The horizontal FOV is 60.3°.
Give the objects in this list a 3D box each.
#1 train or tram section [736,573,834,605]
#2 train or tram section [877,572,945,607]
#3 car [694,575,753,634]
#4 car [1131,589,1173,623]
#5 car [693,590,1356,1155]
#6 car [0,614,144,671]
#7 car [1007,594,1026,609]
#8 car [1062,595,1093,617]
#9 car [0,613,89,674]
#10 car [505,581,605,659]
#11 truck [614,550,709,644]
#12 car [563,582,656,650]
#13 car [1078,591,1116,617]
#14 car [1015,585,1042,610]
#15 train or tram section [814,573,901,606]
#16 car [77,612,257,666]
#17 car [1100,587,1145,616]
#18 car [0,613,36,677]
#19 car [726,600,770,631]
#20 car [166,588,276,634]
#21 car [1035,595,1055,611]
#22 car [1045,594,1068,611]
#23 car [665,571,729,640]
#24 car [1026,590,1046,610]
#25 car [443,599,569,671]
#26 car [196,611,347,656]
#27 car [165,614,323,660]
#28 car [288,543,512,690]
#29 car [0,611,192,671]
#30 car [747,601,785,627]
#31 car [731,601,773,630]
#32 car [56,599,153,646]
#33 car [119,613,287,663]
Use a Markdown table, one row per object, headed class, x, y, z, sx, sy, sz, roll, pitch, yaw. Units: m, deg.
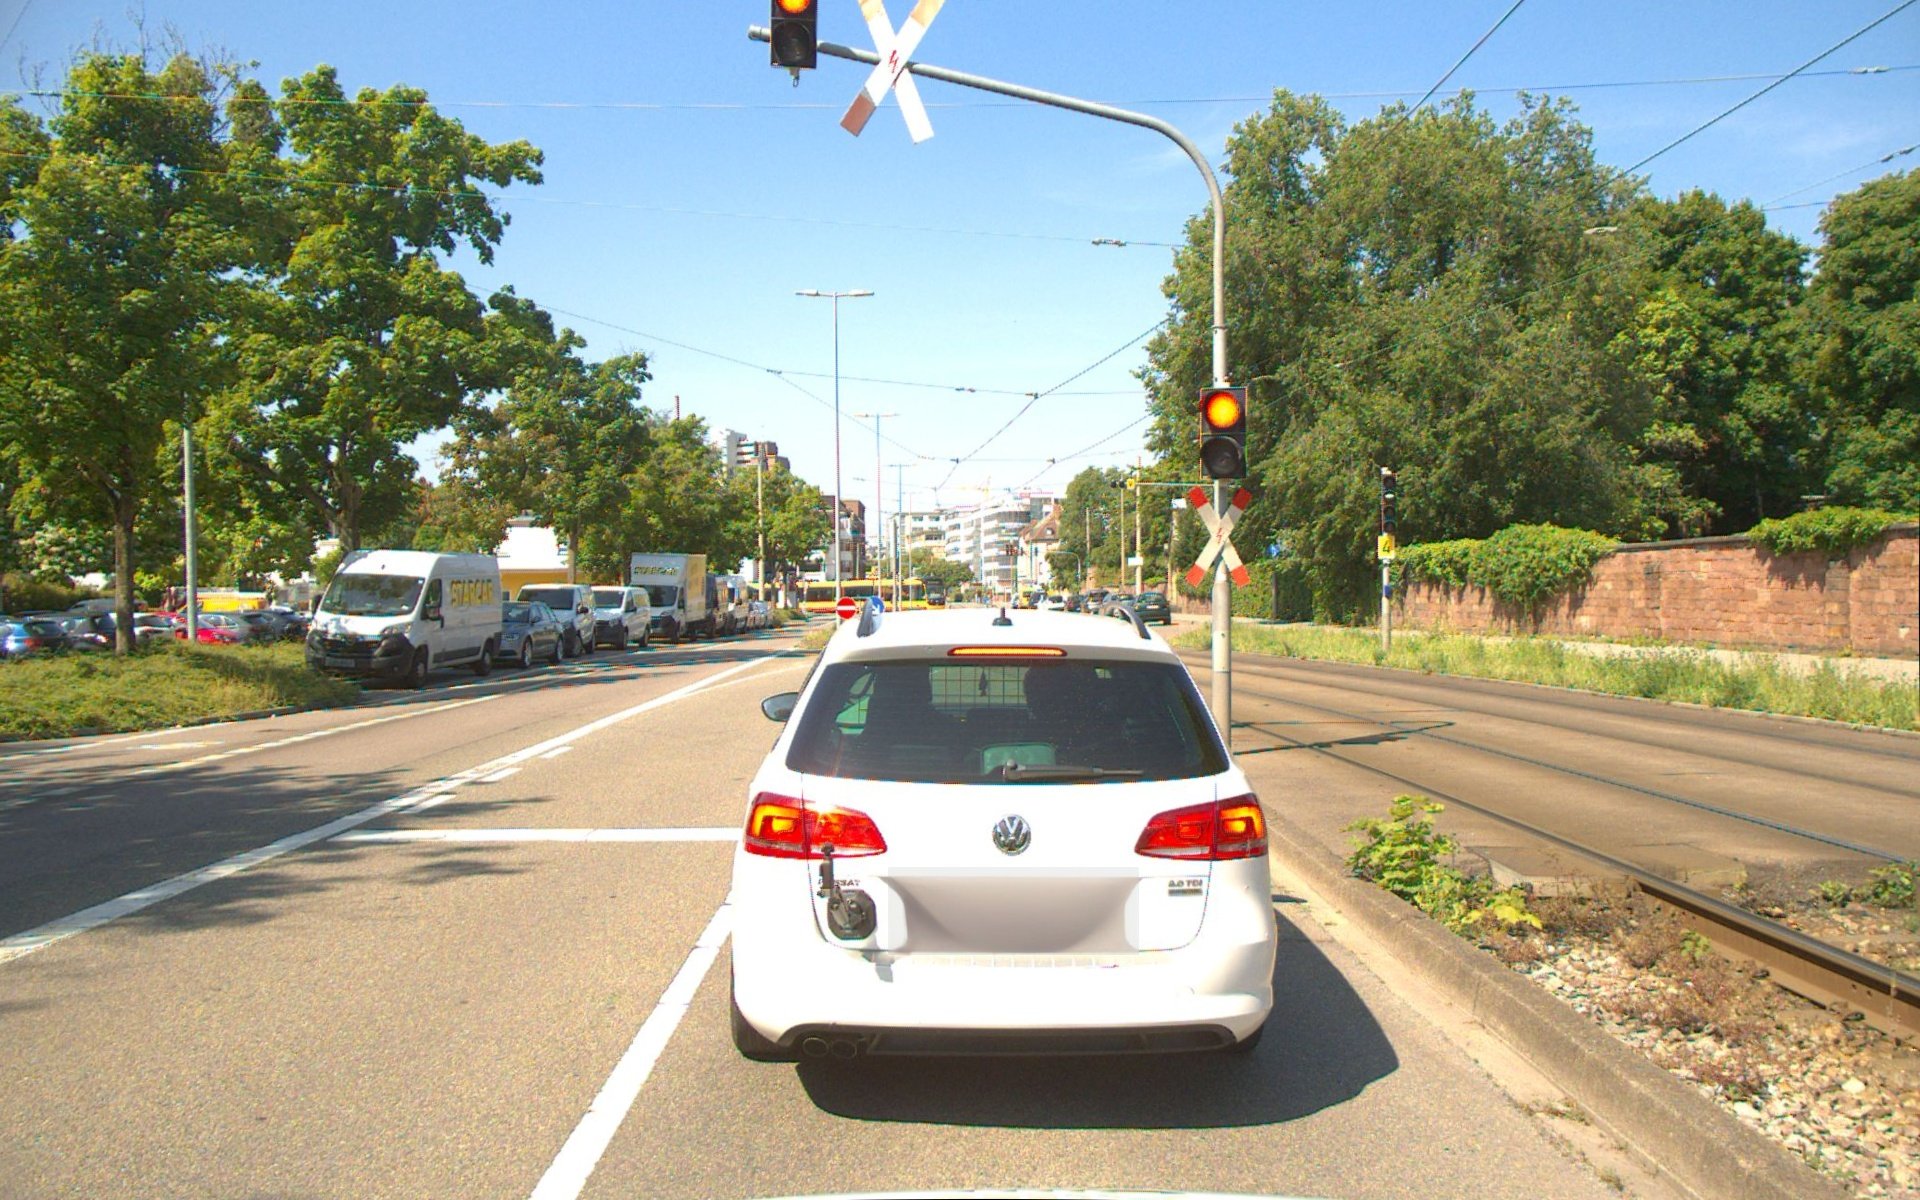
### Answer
| class | x | y | z | sx | sy | sz | roll | pitch | yaw |
| --- | --- | --- | --- | --- | --- | --- | --- | --- | --- |
| train or tram section | -18.860 | -1.221 | 178.003 | 10.765 | 3.310 | 2.307 | 1 | -1 | 25 |
| train or tram section | -4.962 | -1.054 | 164.258 | 2.273 | 3.309 | 11.178 | 1 | -1 | -26 |
| car | -10.792 | 0.192 | 75.801 | 1.806 | 2.538 | 5.856 | -1 | 0 | 0 |
| car | 8.300 | 0.262 | 71.690 | 1.709 | 1.412 | 3.915 | 1 | 0 | 5 |
| car | 0.121 | 0.716 | 6.332 | 1.732 | 1.471 | 3.912 | 1 | 0 | -2 |
| car | -21.630 | 1.005 | 38.984 | 3.904 | 1.246 | 1.772 | -1 | 0 | 2 |
| car | 6.430 | 0.167 | 188.916 | 1.953 | 1.624 | 3.999 | 1 | -1 | 0 |
| car | 8.019 | 0.410 | 113.310 | 1.711 | 1.432 | 3.911 | 1 | 0 | -2 |
| car | -21.266 | 0.953 | 35.780 | 3.904 | 1.246 | 1.772 | -1 | 0 | 2 |
| car | -11.026 | 0.501 | 45.358 | 1.807 | 1.971 | 5.189 | -1 | 0 | -5 |
| truck | -10.774 | -0.137 | 60.231 | 2.309 | 3.177 | 6.889 | -1 | 0 | -2 |
| car | -10.932 | 0.456 | 51.884 | 1.806 | 1.995 | 5.133 | -1 | 0 | 0 |
| car | 8.269 | 0.221 | 100.158 | 1.823 | 1.539 | 3.912 | 1 | 0 | -2 |
| car | 7.176 | -0.281 | 174.484 | 2.413 | 2.542 | 5.908 | 1 | -1 | -1 |
| train or tram section | -10.752 | -1.107 | 172.084 | 10.614 | 3.309 | 2.295 | 1 | -1 | 42 |
| car | -21.088 | 1.027 | 44.067 | 3.904 | 1.286 | 1.772 | -1 | 0 | 2 |
| car | 8.536 | 0.078 | 87.159 | 1.823 | 1.441 | 4.323 | 1 | 0 | -2 |
| car | -20.946 | 0.942 | 33.039 | 3.907 | 1.246 | 1.770 | -1 | 0 | -3 |
| car | -10.908 | 0.779 | 85.396 | 1.806 | 1.458 | 4.037 | -1 | 0 | -1 |
| car | -34.182 | 0.515 | 76.613 | 4.175 | 2.049 | 1.997 | 1 | -1 | -7 |
| car | 7.494 | 0.302 | 145.822 | 1.549 | 1.370 | 3.453 | 1 | -1 | -1 |
| car | 7.747 | 0.204 | 133.030 | 1.549 | 1.370 | 3.453 | 1 | -1 | -1 |
| car | -10.778 | 0.196 | 68.163 | 1.806 | 2.715 | 5.003 | -1 | 0 | 0 |
| car | 7.160 | 0.010 | 155.675 | 1.657 | 1.844 | 3.453 | 1 | -1 | -1 |
| car | -10.533 | 0.770 | 38.639 | 1.806 | 1.543 | 4.196 | -1 | 0 | -1 |
| car | -21.438 | 1.037 | 51.589 | 3.904 | 1.246 | 1.772 | -1 | 0 | 2 |
| car | -21.304 | 1.087 | 49.303 | 3.904 | 1.246 | 1.772 | -1 | 0 | 2 |
| car | -10.750 | 0.268 | 32.390 | 2.016 | 2.544 | 6.309 | 2 | 0 | 2 |
| car | -21.715 | 1.014 | 41.642 | 3.904 | 1.373 | 1.772 | -1 | 0 | 2 |
| car | -11.292 | 0.792 | 96.532 | 1.744 | 1.458 | 4.037 | -1 | 0 | -1 |
| car | -11.430 | 0.835 | 91.199 | 1.806 | 1.458 | 4.037 | -1 | 0 | -1 |
| car | -36.942 | 0.967 | 71.486 | 3.354 | 1.909 | 1.552 | -1 | 0 | -3 |
| car | -21.305 | 1.059 | 46.636 | 3.904 | 1.246 | 1.772 | -1 | 0 | 2 |
